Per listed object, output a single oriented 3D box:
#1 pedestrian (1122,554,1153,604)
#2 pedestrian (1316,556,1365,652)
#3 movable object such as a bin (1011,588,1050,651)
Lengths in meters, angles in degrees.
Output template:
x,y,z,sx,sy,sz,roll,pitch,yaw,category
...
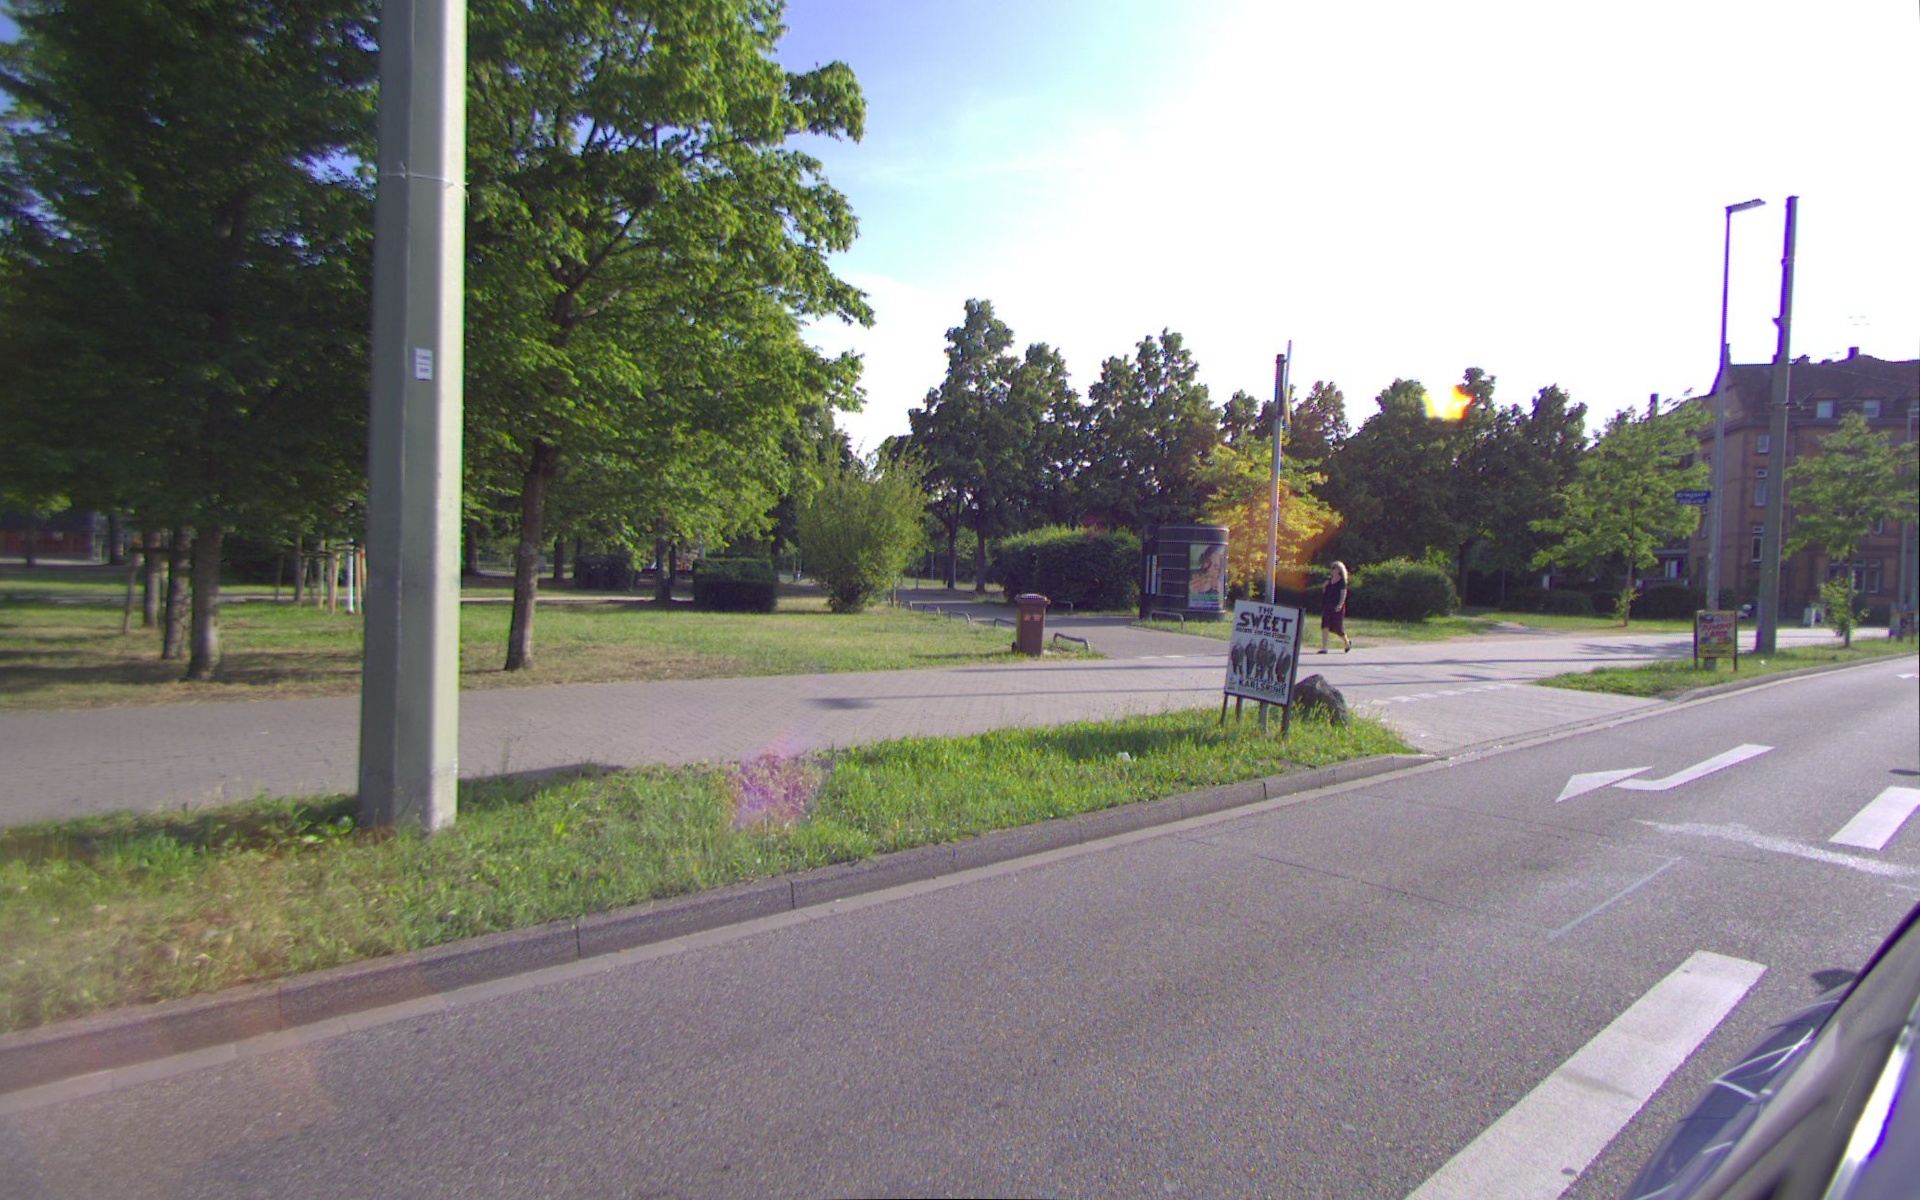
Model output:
x,y,z,sx,sy,sz,roll,pitch,yaw,category
7.863,-0.922,44.876,0.872,2.184,0.914,1,1,-28,pedestrian
7.054,0.064,18.744,0.651,1.722,0.558,1,2,-41,pedestrian
1.060,0.286,15.347,0.514,0.915,0.504,2,1,-2,movable object such as a bin
